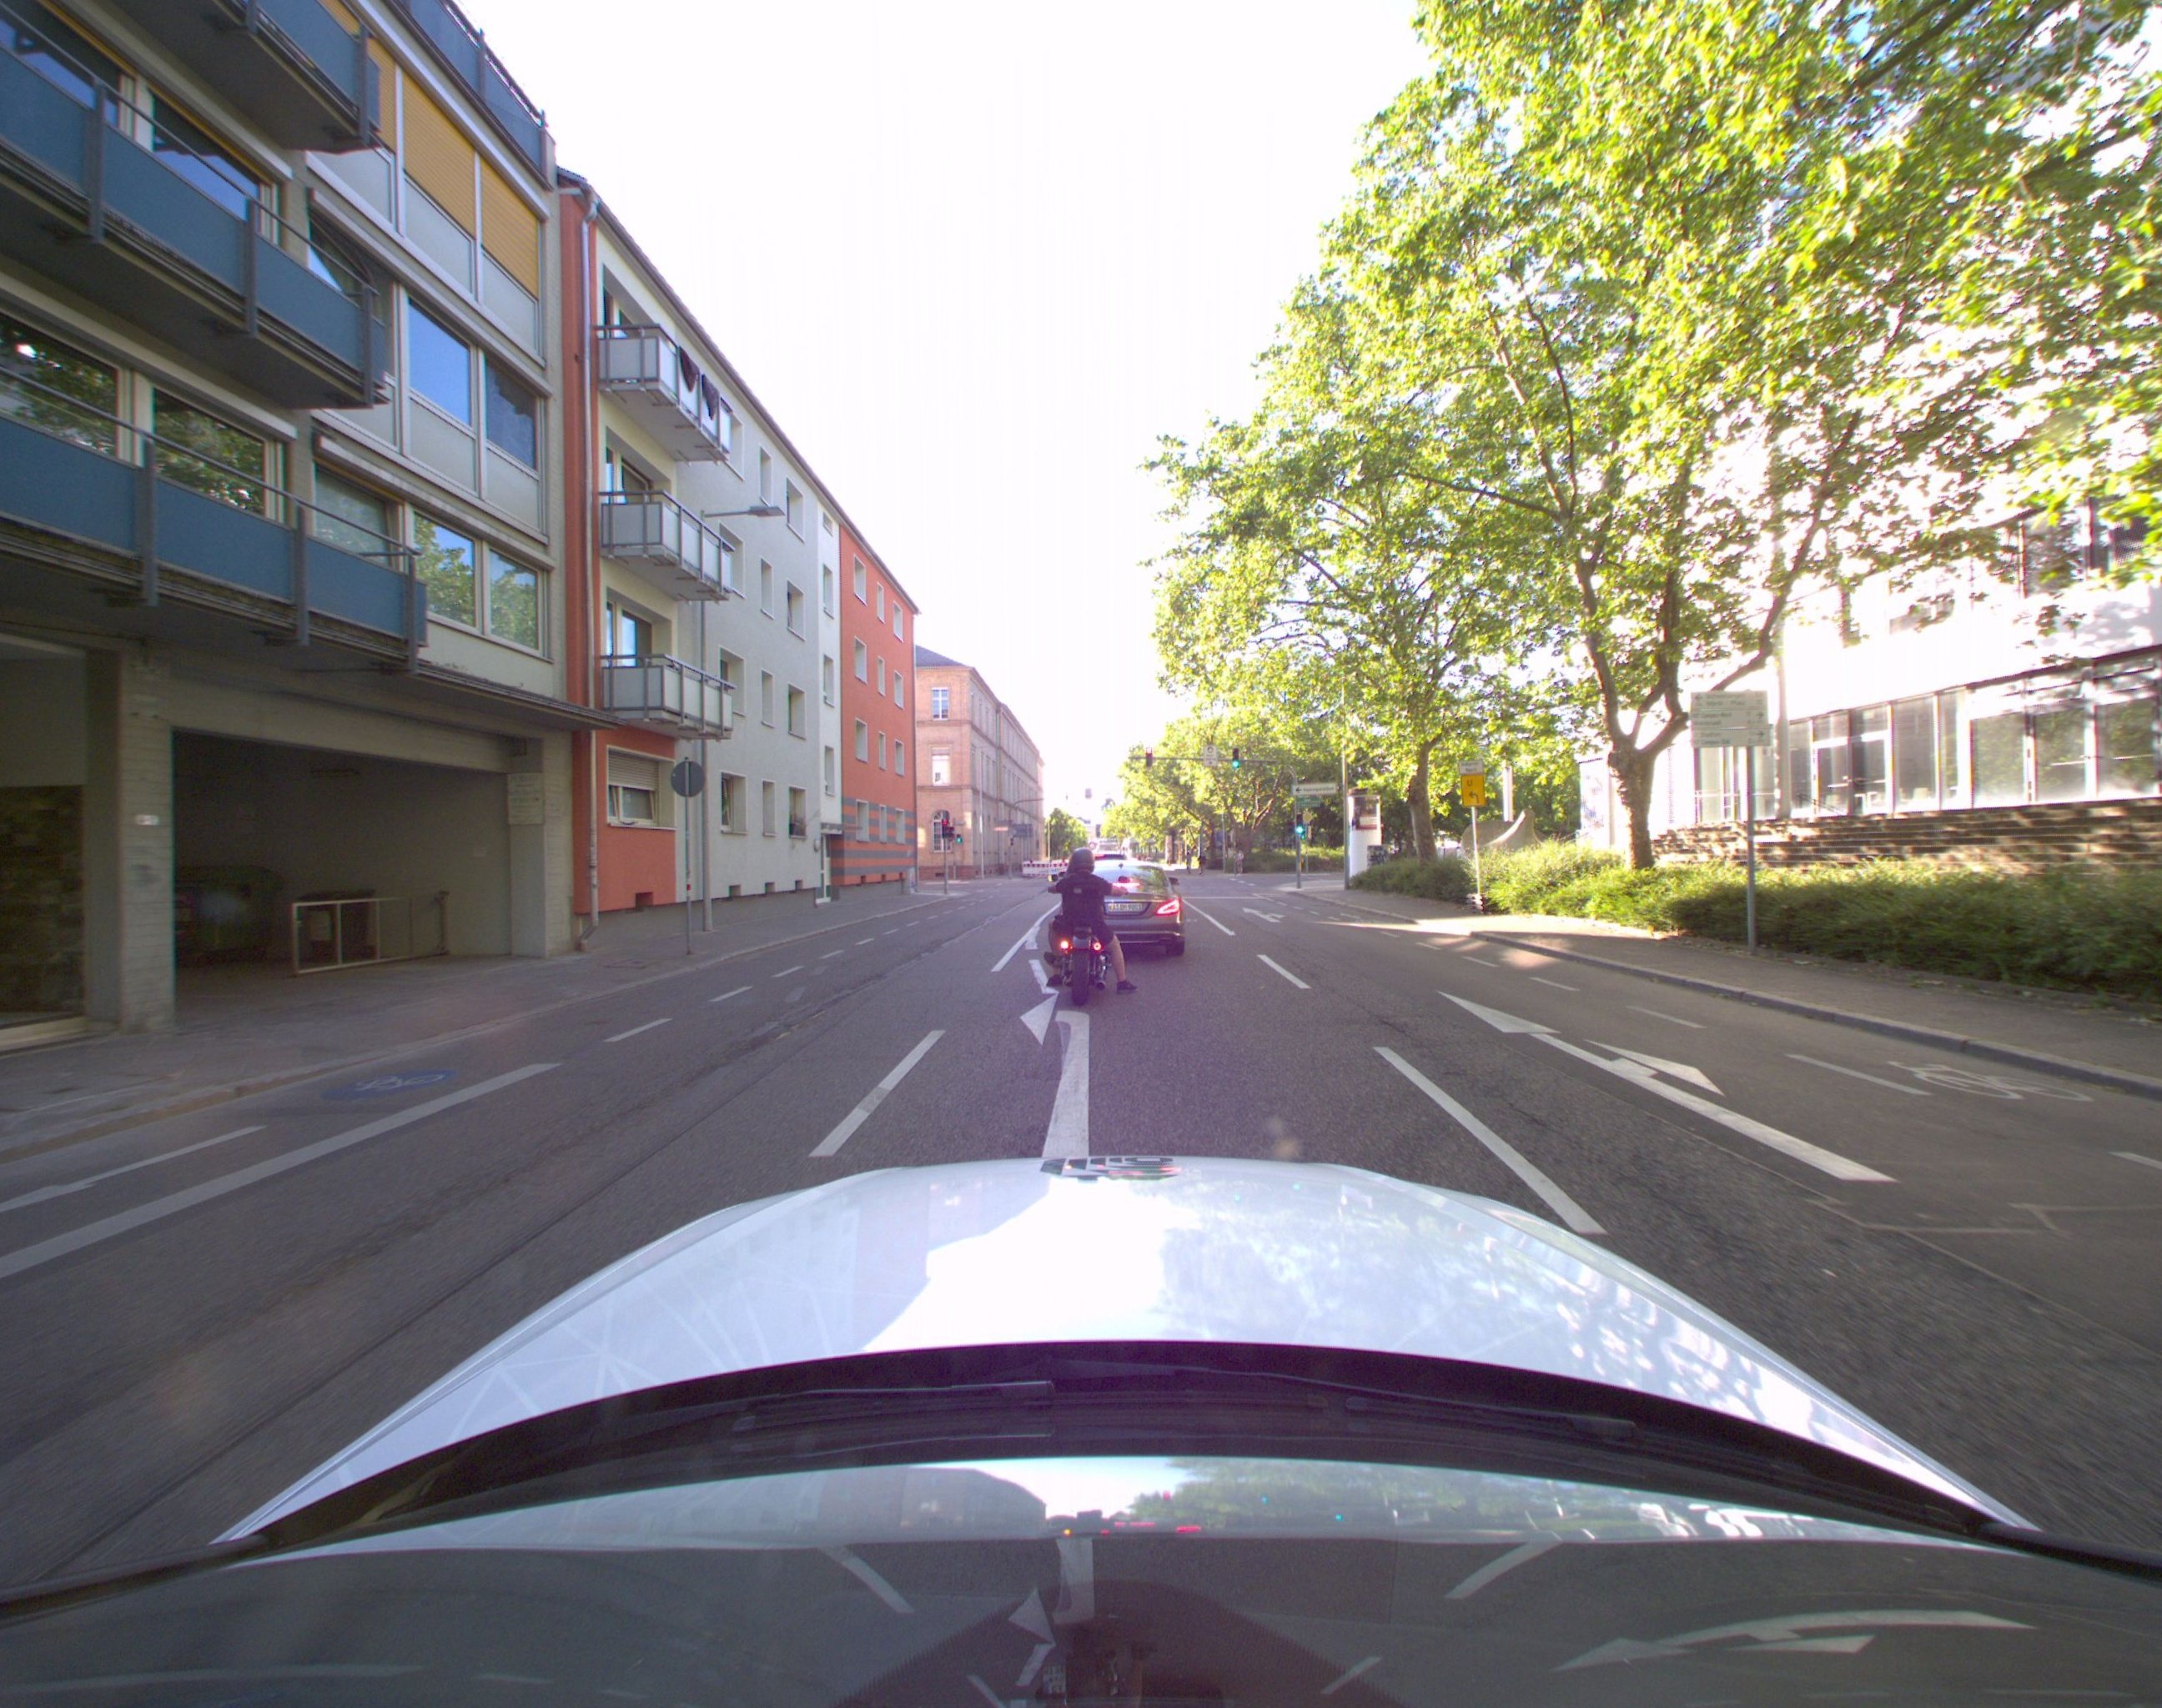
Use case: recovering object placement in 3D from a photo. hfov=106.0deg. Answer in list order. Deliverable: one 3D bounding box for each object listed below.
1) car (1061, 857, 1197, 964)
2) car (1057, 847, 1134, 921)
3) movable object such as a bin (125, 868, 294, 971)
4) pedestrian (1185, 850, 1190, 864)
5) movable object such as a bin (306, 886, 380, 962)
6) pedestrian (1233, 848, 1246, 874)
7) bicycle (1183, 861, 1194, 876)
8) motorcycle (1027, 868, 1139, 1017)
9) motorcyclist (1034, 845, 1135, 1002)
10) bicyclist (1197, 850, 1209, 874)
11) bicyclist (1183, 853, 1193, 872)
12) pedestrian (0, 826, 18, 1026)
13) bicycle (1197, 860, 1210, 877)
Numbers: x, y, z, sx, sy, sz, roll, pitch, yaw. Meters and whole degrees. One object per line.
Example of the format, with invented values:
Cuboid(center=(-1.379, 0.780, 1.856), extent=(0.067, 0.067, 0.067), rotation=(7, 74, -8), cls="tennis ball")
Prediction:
Cuboid(center=(0.712, 0.779, 12.967), extent=(1.821, 1.420, 3.816), rotation=(-1, 0, 2), cls="car")
Cuboid(center=(0.279, 0.693, 20.374), extent=(1.626, 1.650, 3.846), rotation=(0, 0, -3), cls="car")
Cuboid(center=(-12.816, 0.937, 12.023), extent=(1.313, 1.414, 1.080), rotation=(-1, 0, 1), cls="movable object such as a bin")
Cuboid(center=(11.886, 0.311, 90.905), extent=(0.590, 1.578, 0.527), rotation=(0, -1, 2), cls="pedestrian")
Cuboid(center=(-11.067, 1.035, 12.224), extent=(0.487, 1.088, 0.654), rotation=(-1, 0, 2), cls="movable object such as a bin")
Cuboid(center=(11.029, 0.503, 56.618), extent=(0.574, 1.774, 0.619), rotation=(1, -1, -32), cls="pedestrian")
Cuboid(center=(8.334, 1.091, 63.206), extent=(0.653, 1.111, 2.186), rotation=(0, 0, 2), cls="bicycle")
Cuboid(center=(0.063, 0.844, 8.888), extent=(1.008, 1.306, 2.674), rotation=(-1, 0, 2), cls="motorcycle")
Cuboid(center=(0.059, 0.716, 9.089), extent=(1.008, 1.602, 1.406), rotation=(-1, 0, 2), cls="motorcyclist")
Cuboid(center=(8.095, 0.528, 53.965), extent=(0.653, 1.530, 0.852), rotation=(0, -1, 2), cls="bicyclist")
Cuboid(center=(8.342, 0.664, 63.309), extent=(0.653, 1.530, 0.906), rotation=(0, -1, 2), cls="bicyclist")
Cuboid(center=(-8.816, 0.572, 6.166), extent=(0.511, 1.579, 0.756), rotation=(-1, 0, 2), cls="pedestrian")
Cuboid(center=(8.096, 0.949, 53.835), extent=(0.653, 1.070, 1.928), rotation=(0, 0, 2), cls="bicycle")
